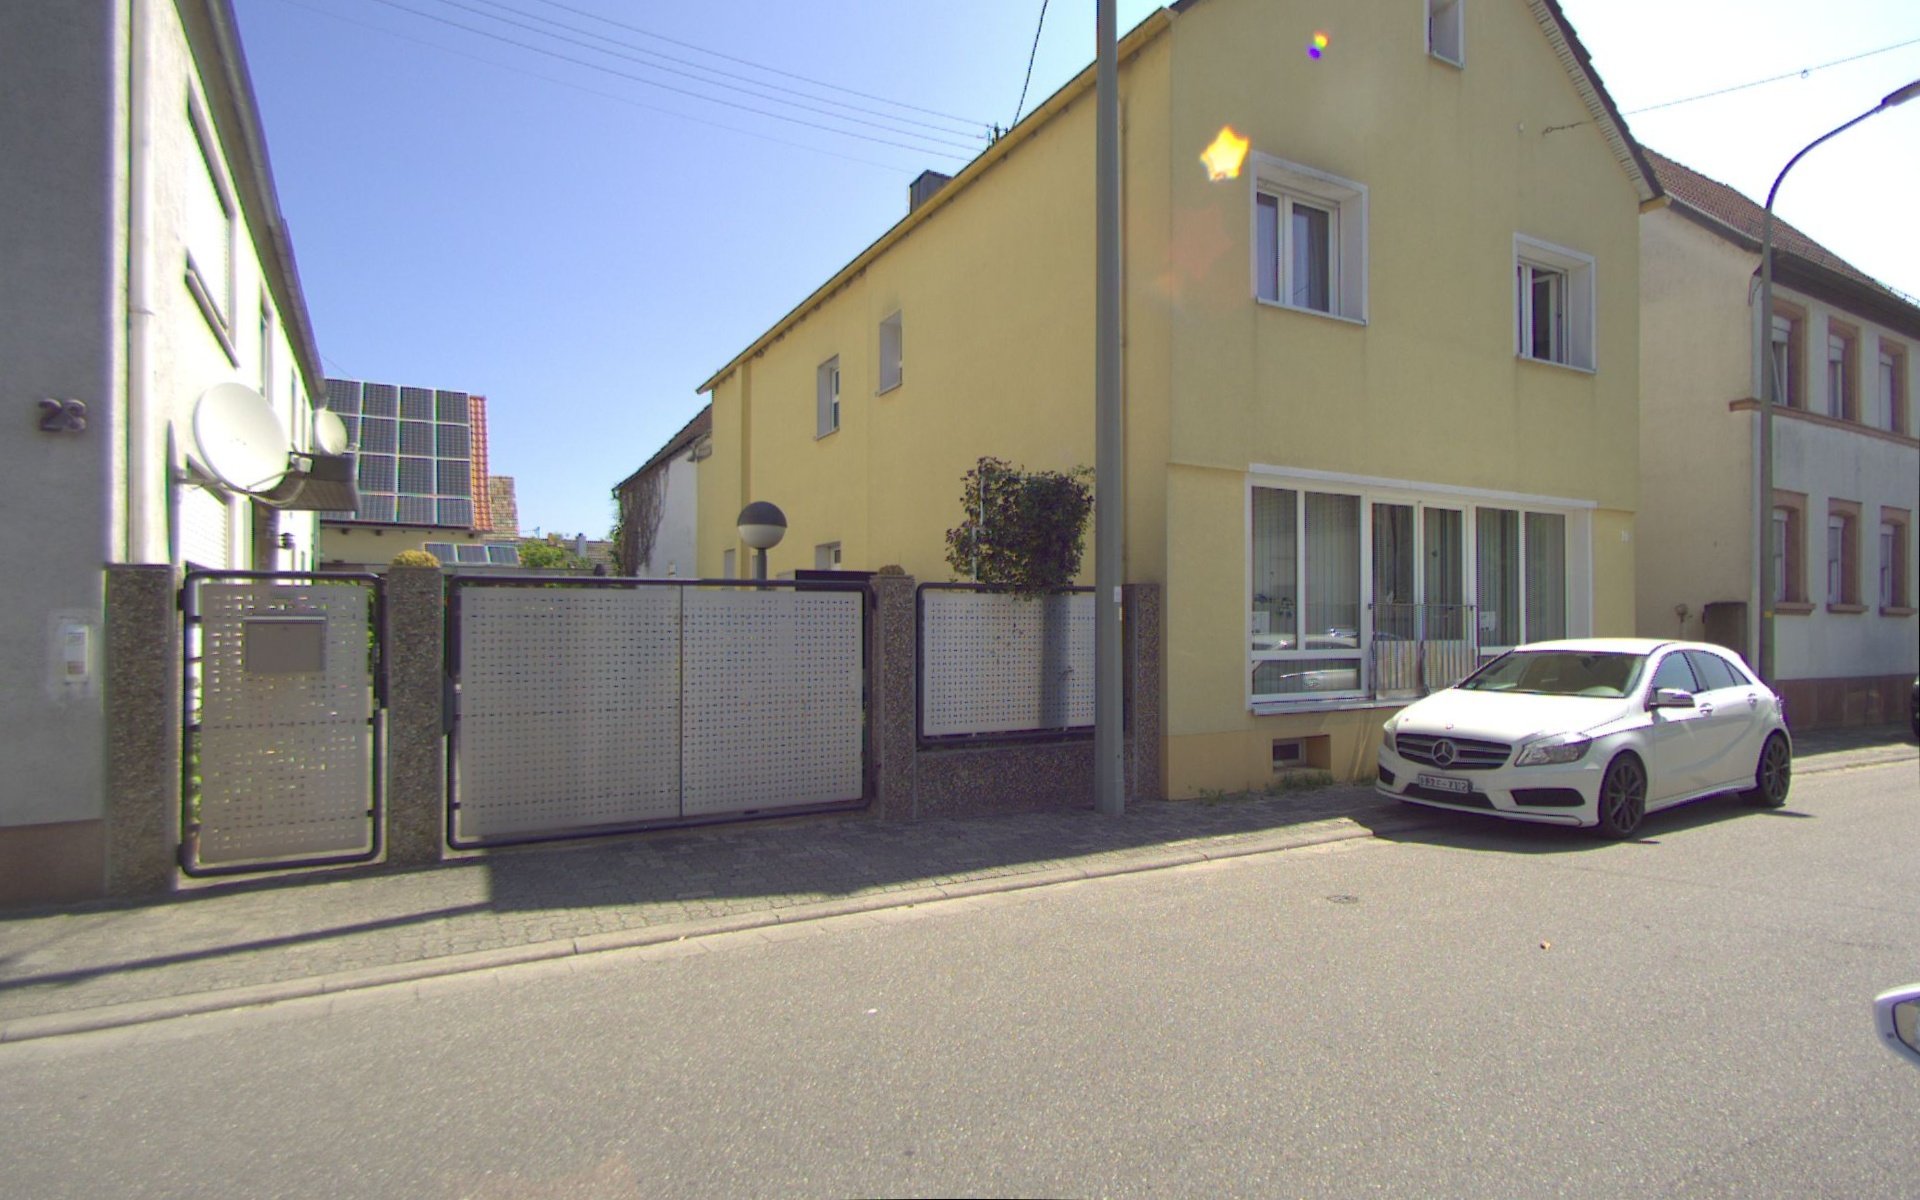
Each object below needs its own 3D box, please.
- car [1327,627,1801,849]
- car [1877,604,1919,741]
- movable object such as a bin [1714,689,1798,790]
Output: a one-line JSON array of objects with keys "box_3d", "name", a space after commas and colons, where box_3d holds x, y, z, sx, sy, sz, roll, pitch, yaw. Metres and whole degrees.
[{"box_3d": [5.295, 0.987, 8.665, 4.224, 1.483, 1.824, 1, -2, -33], "name": "car"}, {"box_3d": [15.153, 0.998, 14.272, 4.300, 1.861, 1.827, 1, -2, -29], "name": "car"}, {"box_3d": [7.696, 1.339, 9.725, 0.487, 0.917, 0.425, 1, -1, -11], "name": "movable object such as a bin"}]
